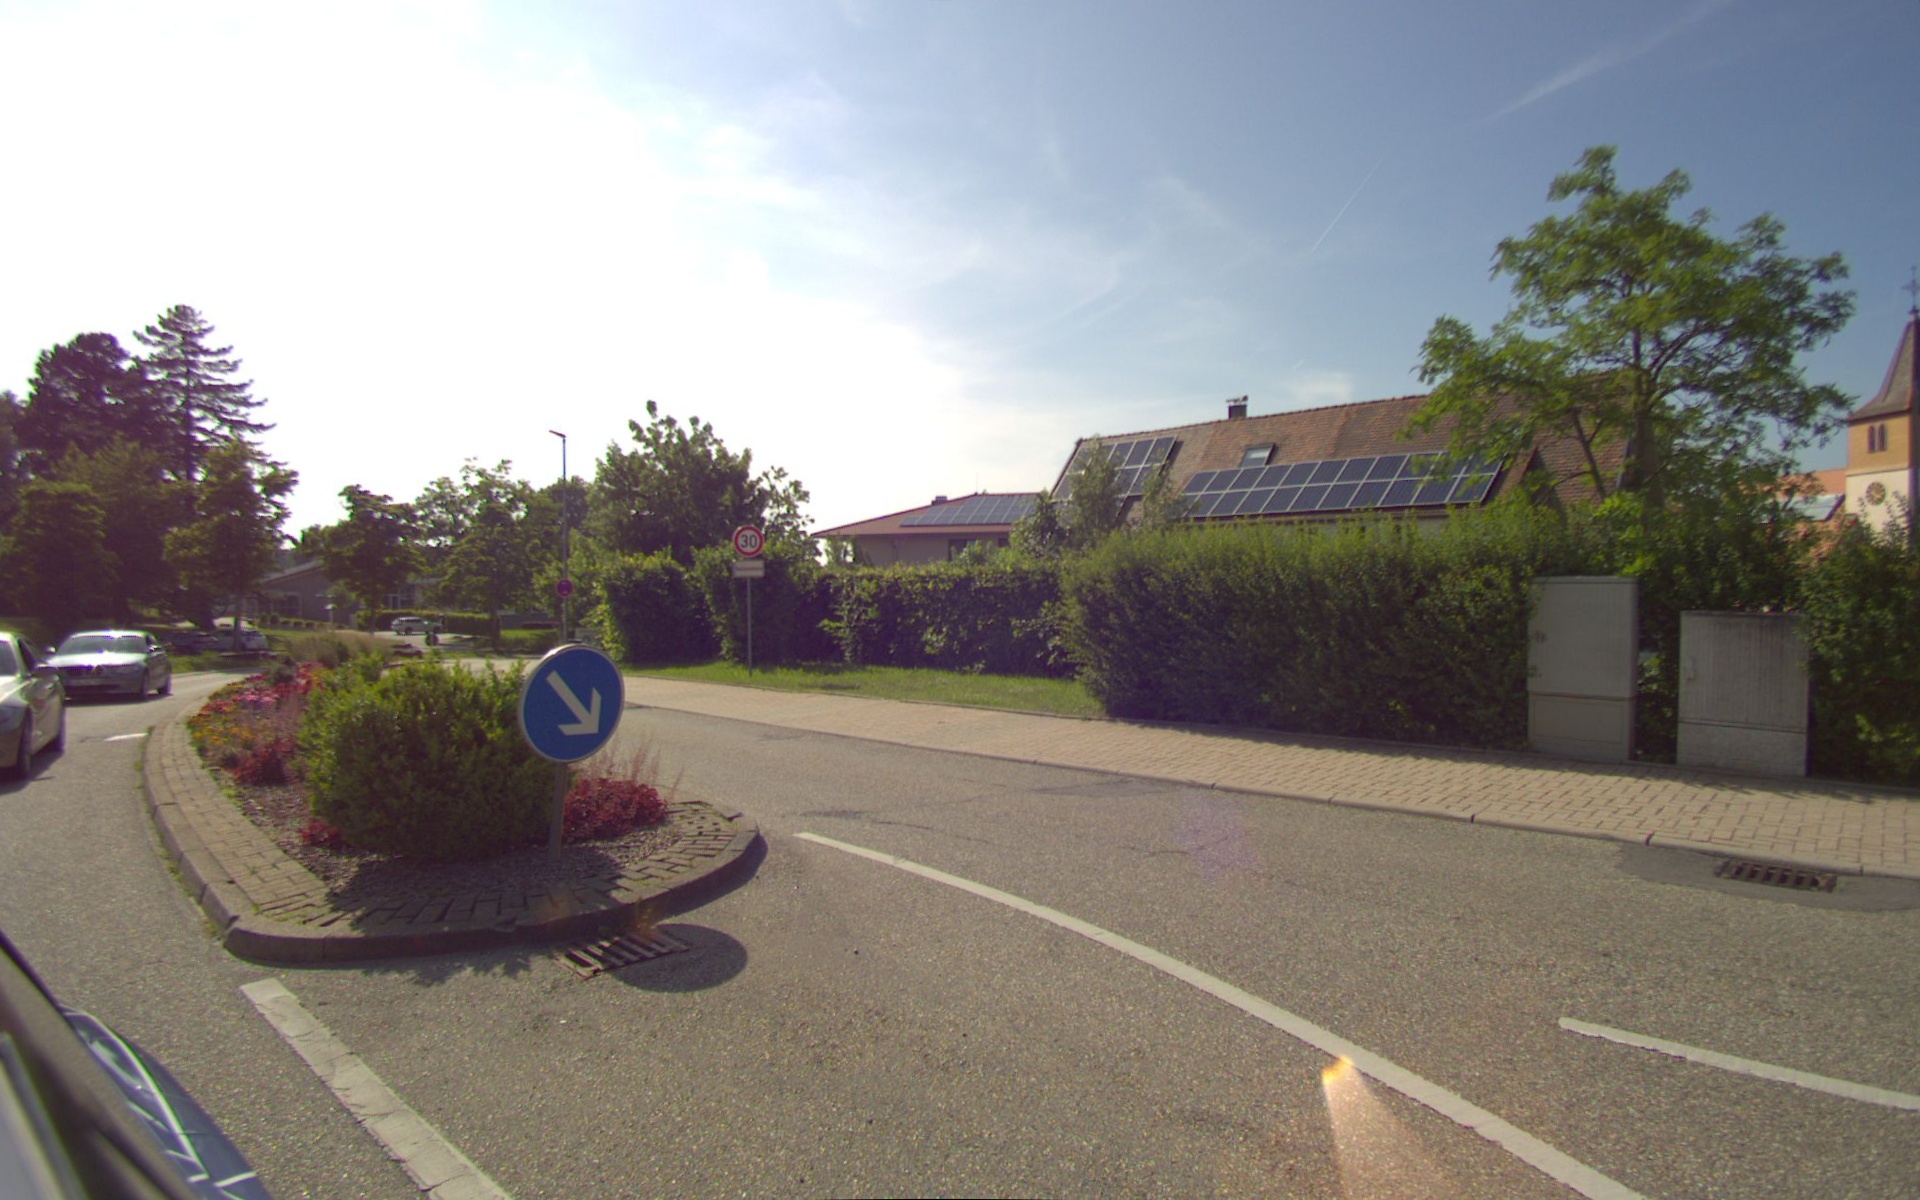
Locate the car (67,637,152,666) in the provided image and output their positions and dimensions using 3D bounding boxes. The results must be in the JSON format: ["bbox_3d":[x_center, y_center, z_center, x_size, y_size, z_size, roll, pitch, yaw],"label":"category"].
[{"bbox_3d":[-47.196,2.847,56.195,3.269,1.414,1.713,2,-1,3],"label":"car"}]

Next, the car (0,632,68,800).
[{"bbox_3d":[-10.280,1.039,10.028,1.810,1.378,4.591,1,-2,-37],"label":"car"}]

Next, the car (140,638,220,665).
[{"bbox_3d":[-45.879,3.018,59.572,3.498,1.438,1.682,2,-2,7],"label":"car"}]

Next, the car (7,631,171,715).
[{"bbox_3d":[-17.728,1.440,20.812,1.872,1.519,4.011,3,-3,-32],"label":"car"}]

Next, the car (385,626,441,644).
[{"bbox_3d":[-51.862,3.340,96.062,1.790,1.527,4.316,0,-3,35],"label":"car"}]

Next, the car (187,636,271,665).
[{"bbox_3d":[-45.995,3.164,63.702,3.952,1.630,1.995,2,-2,7],"label":"car"}]
